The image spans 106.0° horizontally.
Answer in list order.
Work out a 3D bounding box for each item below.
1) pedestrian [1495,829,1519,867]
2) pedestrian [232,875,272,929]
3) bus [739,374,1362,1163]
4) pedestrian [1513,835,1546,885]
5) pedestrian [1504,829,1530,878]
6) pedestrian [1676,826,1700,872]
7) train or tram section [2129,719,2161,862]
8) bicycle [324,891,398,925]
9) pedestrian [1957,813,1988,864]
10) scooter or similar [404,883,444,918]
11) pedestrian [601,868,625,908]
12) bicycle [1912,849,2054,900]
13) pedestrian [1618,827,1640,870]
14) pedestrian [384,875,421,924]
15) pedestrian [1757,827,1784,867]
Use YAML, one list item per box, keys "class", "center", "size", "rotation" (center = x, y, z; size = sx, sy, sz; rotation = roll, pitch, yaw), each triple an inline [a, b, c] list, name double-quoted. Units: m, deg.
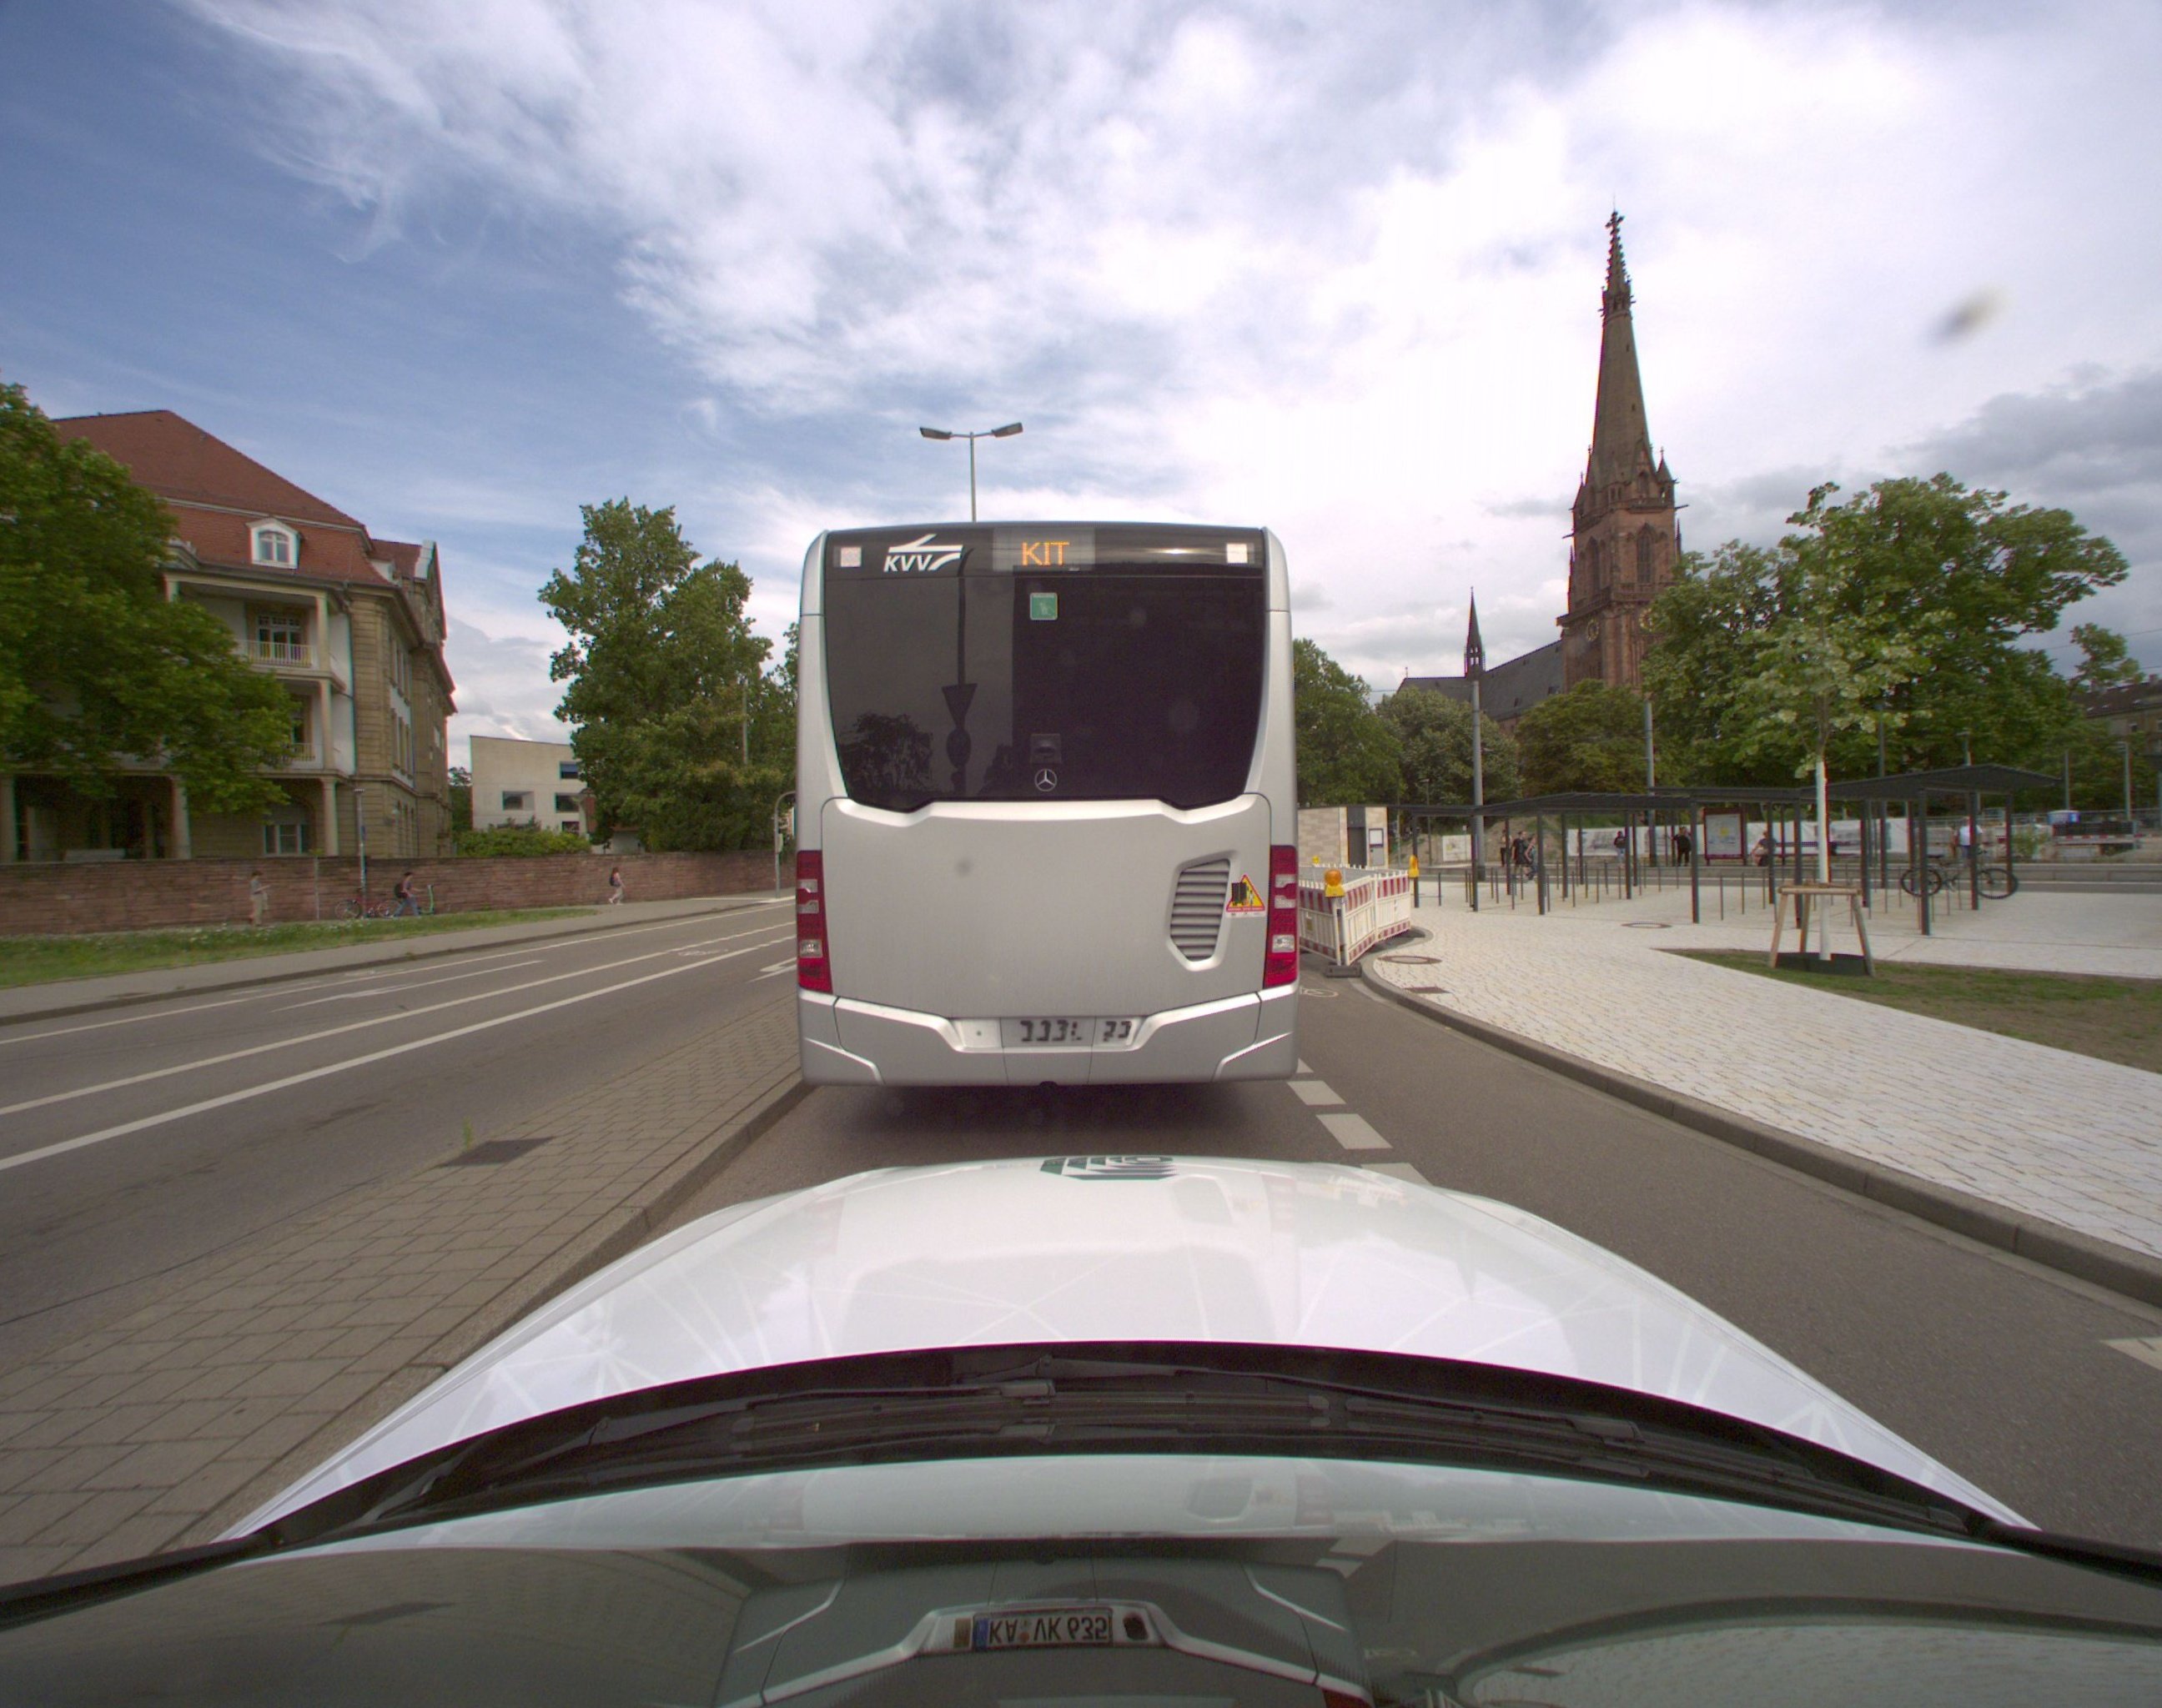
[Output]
- class: "pedestrian"
  center: [20.439, -0.290, 39.100]
  size: [0.816, 1.800, 0.755]
  rotation: [-1, 2, 11]
- class: "pedestrian"
  center: [-27.119, 1.553, 26.638]
  size: [0.570, 1.654, 0.787]
  rotation: [0, 3, 38]
- class: "bus"
  center: [0.241, -0.335, 10.714]
  size: [2.693, 3.438, 14.195]
  rotation: [-1, 0, 3]
- class: "pedestrian"
  center: [14.677, 0.184, 26.680]
  size: [0.541, 1.603, 0.789]
  rotation: [-3, 3, -36]
- class: "pedestrian"
  center: [15.109, -0.022, 28.239]
  size: [0.534, 1.654, 0.623]
  rotation: [-3, 3, -36]
- class: "pedestrian"
  center: [24.477, -0.200, 32.842]
  size: [0.526, 1.800, 0.670]
  rotation: [-4, 3, -42]
- class: "train or tram section"
  center: [28.430, -1.447, 16.113]
  size: [3.076, 3.276, 9.270]
  rotation: [-3, 3, -35]
- class: "bicycle"
  center: [-25.738, 1.920, 29.139]
  size: [1.937, 1.005, 0.770]
  rotation: [-4, 3, -42]
- class: "pedestrian"
  center: [29.773, -0.528, 27.201]
  size: [0.714, 1.677, 0.670]
  rotation: [-4, 3, -42]
- class: "scooter or similar"
  center: [-24.528, 1.717, 30.433]
  size: [0.519, 1.139, 1.513]
  rotation: [-2, 3, -13]
- class: "pedestrian"
  center: [-20.356, 1.471, 35.442]
  size: [0.525, 1.654, 0.634]
  rotation: [0, 3, 29]
- class: "bicycle"
  center: [18.745, 0.392, 16.971]
  size: [0.587, 0.955, 1.944]
  rotation: [-3, 3, -38]
- class: "pedestrian"
  center: [23.222, -0.228, 34.488]
  size: [0.526, 1.800, 0.670]
  rotation: [-4, 3, -42]
- class: "pedestrian"
  center: [-24.002, 1.590, 28.822]
  size: [0.570, 1.654, 0.787]
  rotation: [0, 3, 33]
- class: "pedestrian"
  center: [26.077, -0.281, 30.804]
  size: [0.694, 1.485, 0.670]
  rotation: [-4, 3, -42]
